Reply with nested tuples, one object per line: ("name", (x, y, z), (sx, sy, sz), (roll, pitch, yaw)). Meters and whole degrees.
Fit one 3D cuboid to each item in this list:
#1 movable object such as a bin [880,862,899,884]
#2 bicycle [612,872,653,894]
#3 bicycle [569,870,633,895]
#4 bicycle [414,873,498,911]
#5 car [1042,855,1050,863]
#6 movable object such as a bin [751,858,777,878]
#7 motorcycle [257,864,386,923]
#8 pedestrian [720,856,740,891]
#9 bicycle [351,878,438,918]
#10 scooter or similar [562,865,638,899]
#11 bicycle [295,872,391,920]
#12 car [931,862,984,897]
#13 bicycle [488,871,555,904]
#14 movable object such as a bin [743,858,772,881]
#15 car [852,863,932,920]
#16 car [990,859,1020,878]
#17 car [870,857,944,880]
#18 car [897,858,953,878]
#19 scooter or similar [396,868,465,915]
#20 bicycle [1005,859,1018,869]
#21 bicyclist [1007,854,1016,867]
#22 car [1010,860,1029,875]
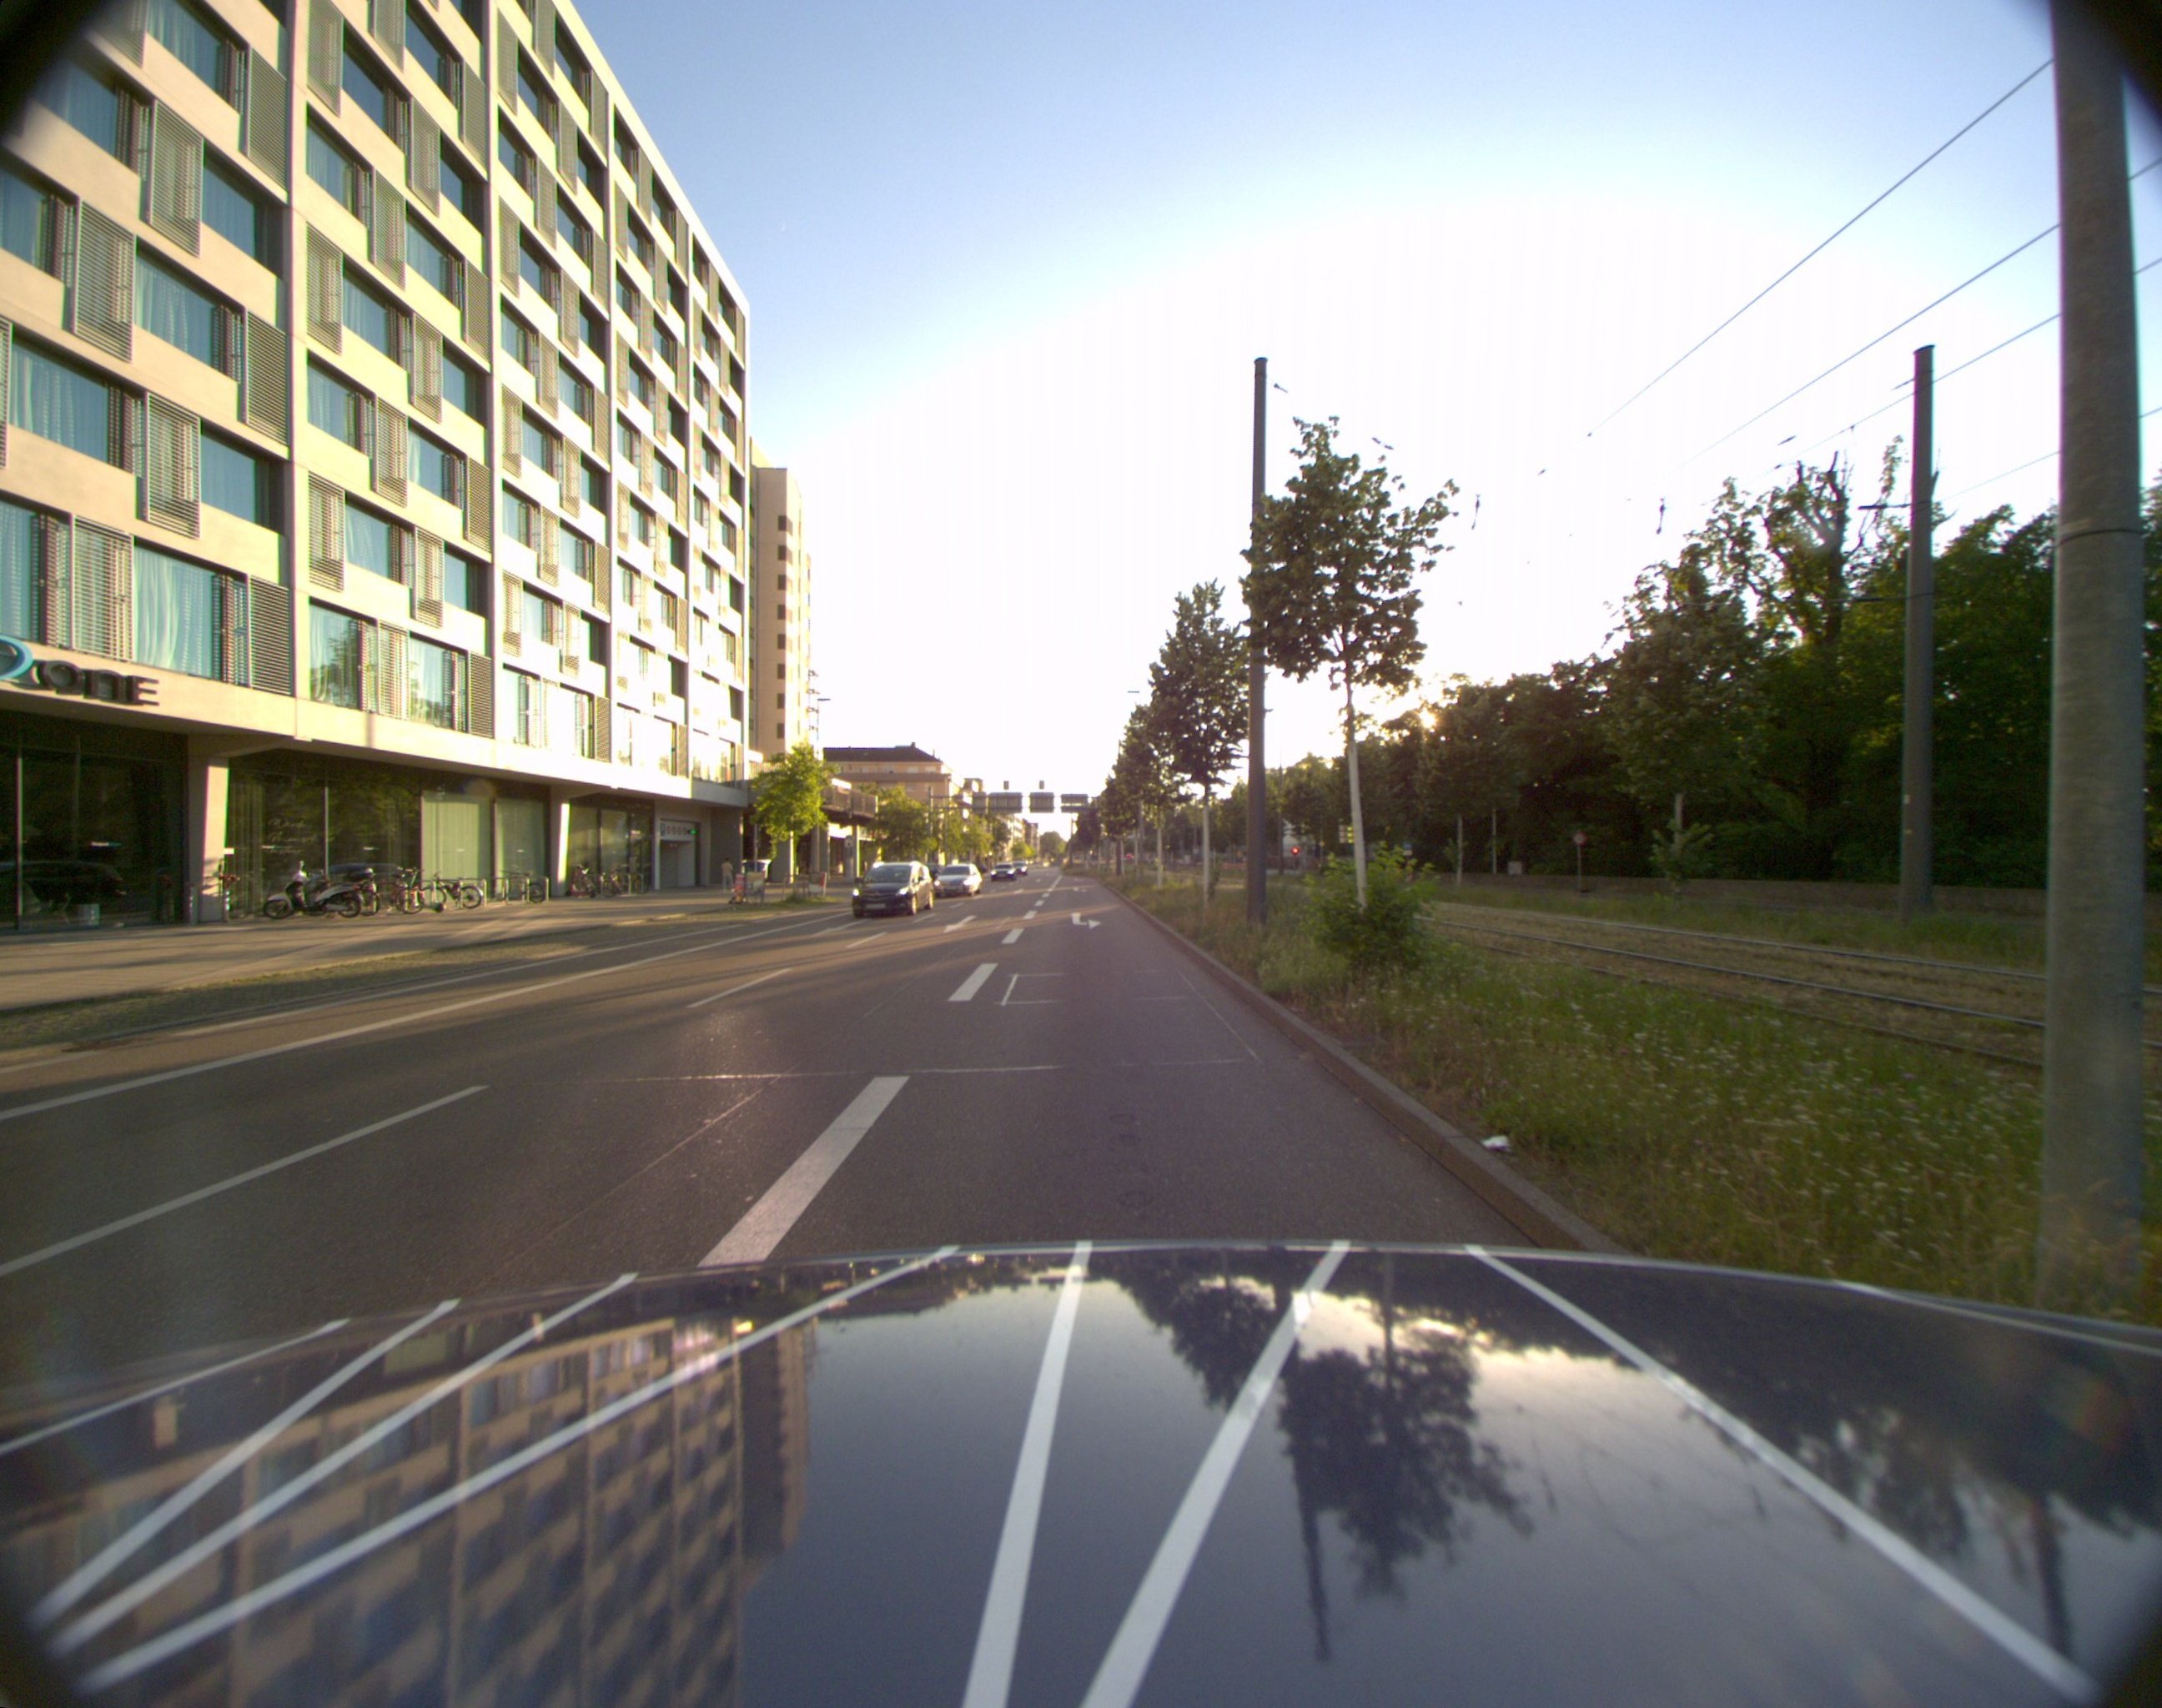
("movable object such as a bin", (-12.413, 1.207, 49.259), (1.017, 1.339, 1.160), (3, 0, -6))
("bicycle", (-18.460, 1.177, 31.275), (1.425, 0.886, 0.457), (0, 0, -1))
("bicycle", (-18.794, 1.117, 29.781), (2.022, 0.952, 0.620), (1, 0, -7))
("bicycle", (-18.104, 1.108, 22.022), (1.890, 1.004, 0.565), (2, 0, -3))
("car", (-8.851, 1.171, 190.220), (1.727, 1.909, 4.293), (-2, 0, -5))
("movable object such as a bin", (-20.201, 0.890, 48.450), (1.185, 1.291, 1.304), (0, 0, -2))
("motorcycle", (-18.211, 0.945, 18.265), (2.120, 1.378, 0.671), (2, -1, -15))
("pedestrian", (-16.146, 0.889, 34.961), (0.578, 1.609, 0.643), (2, 0, -4))
("bicycle", (-18.096, 1.158, 20.036), (1.704, 0.980, 0.551), (2, 0, -4))
("scooter or similar", (-17.840, 1.031, 28.212), (2.378, 1.176, 0.620), (1, 0, -1))
("bicycle", (-18.481, 1.047, 19.051), (1.612, 1.148, 0.611), (2, 0, -13))
("car", (-5.692, 1.141, 35.599), (1.833, 1.455, 4.302), (-2, 0, -1))
("bicycle", (-18.194, 1.083, 24.743), (1.704, 0.980, 0.551), (2, 0, -4))
("movable object such as a bin", (-18.800, 0.900, 44.134), (1.108, 1.322, 1.283), (2, 0, -2))
("car", (-5.938, 1.106, 24.319), (1.828, 1.589, 4.365), (-2, 0, -6))
("car", (-6.064, 1.135, 61.105), (1.915, 1.387, 4.277), (-2, 0, 1))
("car", (-12.324, 1.047, 53.941), (4.680, 1.499, 1.934), (2, 0, -40))
("car", (-12.409, 1.128, 60.593), (4.000, 1.408, 1.746), (2, 0, -39))
("scooter or similar", (-17.688, 1.019, 20.679), (1.271, 1.226, 0.608), (2, 0, -5))
("bicycle", (-9.012, 1.279, 98.355), (0.821, 1.166, 2.143), (1, 0, -29))
("bicyclist", (-9.013, 0.808, 98.367), (0.821, 1.682, 0.959), (1, 0, -29))
("car", (-6.327, 1.369, 78.236), (1.863, 1.387, 4.275), (-2, 0, -4))
